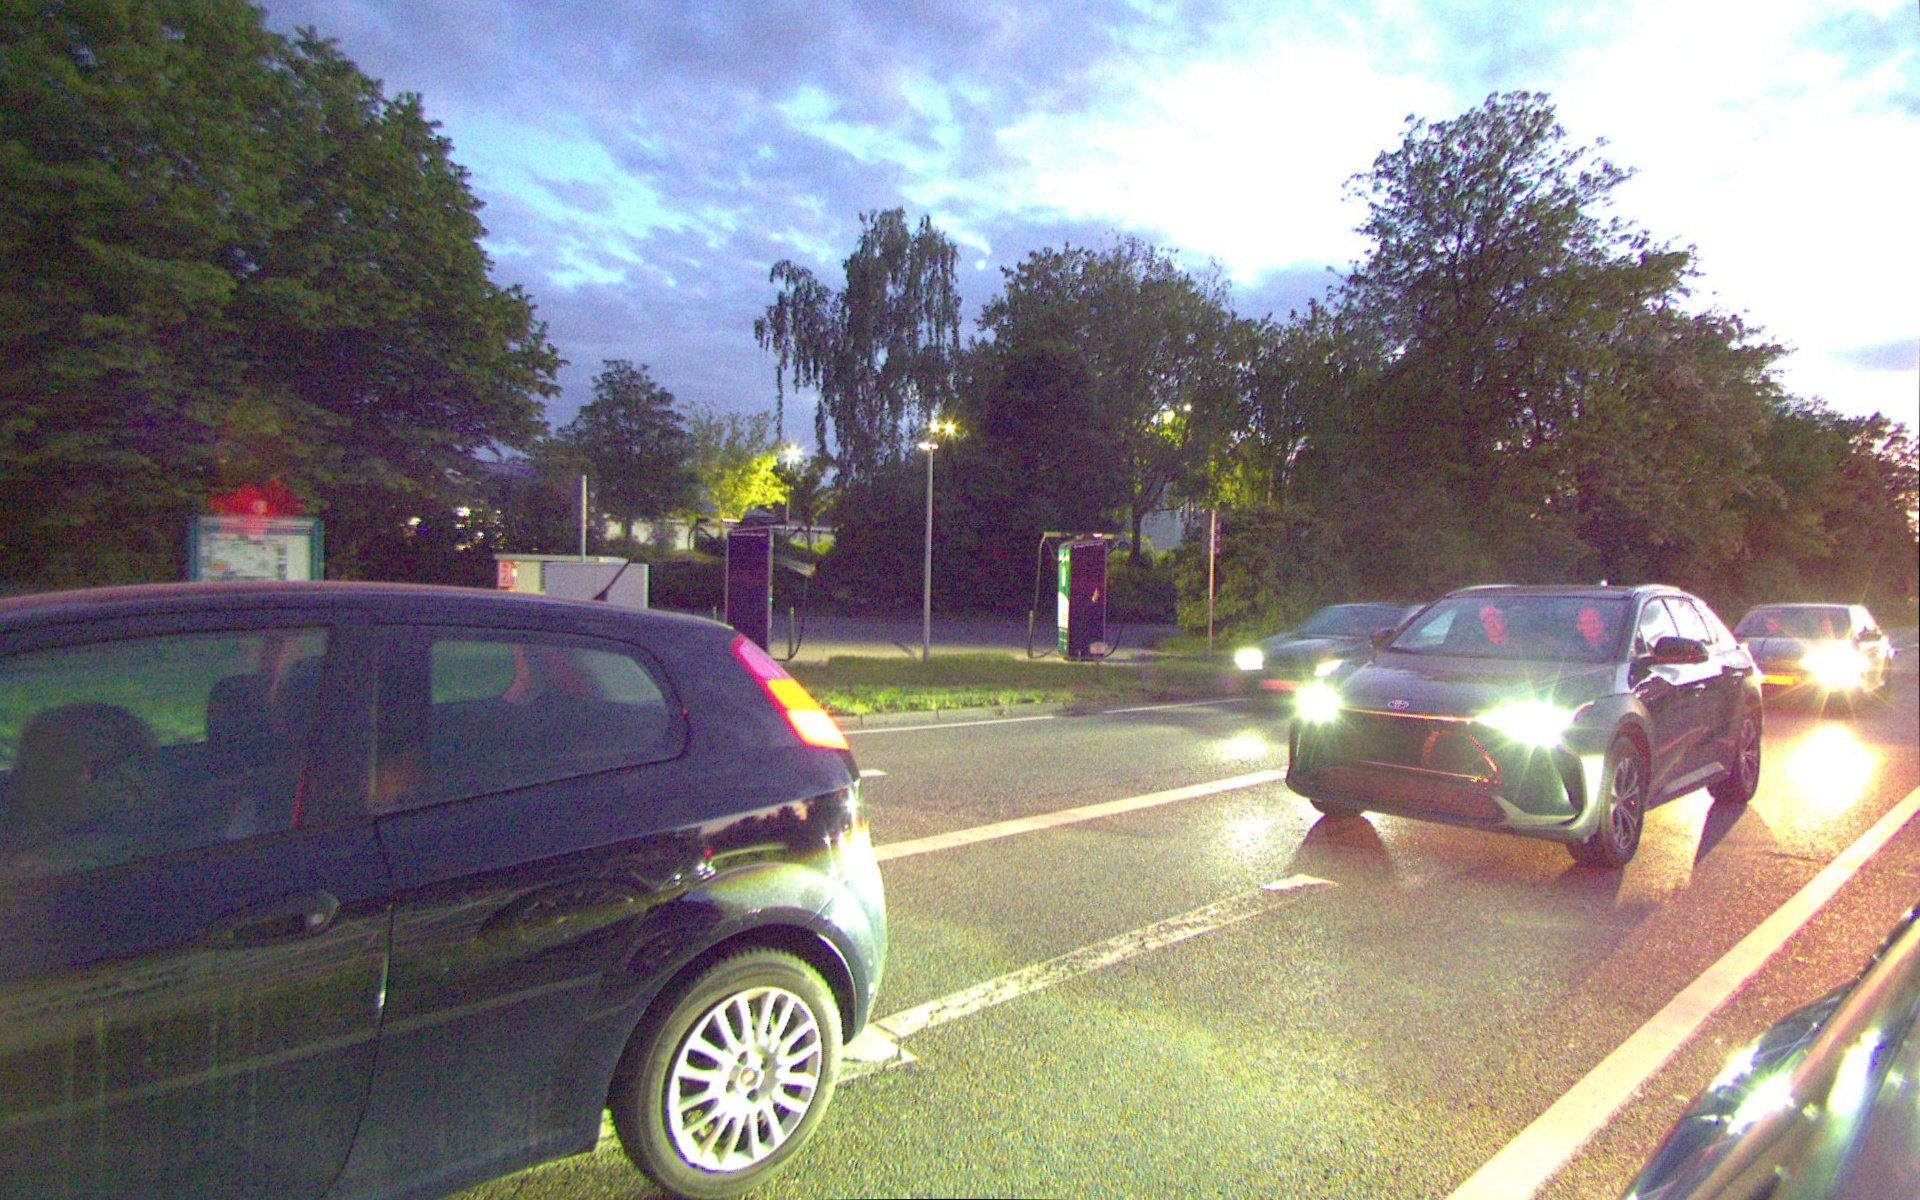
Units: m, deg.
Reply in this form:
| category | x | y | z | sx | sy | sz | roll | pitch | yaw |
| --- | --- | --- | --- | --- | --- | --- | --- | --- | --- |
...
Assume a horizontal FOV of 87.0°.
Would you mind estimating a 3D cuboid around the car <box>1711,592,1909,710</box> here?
| category | x | y | z | sx | sy | sz | roll | pitch | yaw |
| --- | --- | --- | --- | --- | --- | --- | --- | --- | --- |
| car | 12.317 | 0.633 | 14.592 | 3.803 | 1.487 | 1.622 | 0 | 0 | -41 |

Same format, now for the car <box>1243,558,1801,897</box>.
| category | x | y | z | sx | sy | sz | roll | pitch | yaw |
| --- | --- | --- | --- | --- | --- | --- | --- | --- | --- |
| car | 4.182 | 0.603 | 7.157 | 4.629 | 1.630 | 1.997 | 0 | 0 | -41 |

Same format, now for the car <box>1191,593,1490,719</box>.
| category | x | y | z | sx | sy | sz | roll | pitch | yaw |
| --- | --- | --- | --- | --- | --- | --- | --- | --- | --- |
| car | 5.421 | 0.652 | 14.102 | 4.620 | 1.450 | 1.922 | 0 | 1 | -41 |

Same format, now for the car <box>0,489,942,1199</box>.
| category | x | y | z | sx | sy | sz | roll | pitch | yaw |
| --- | --- | --- | --- | --- | --- | --- | --- | --- | --- |
| car | -2.132 | 0.586 | 2.114 | 4.032 | 1.540 | 1.674 | 0 | 1 | -39 |
